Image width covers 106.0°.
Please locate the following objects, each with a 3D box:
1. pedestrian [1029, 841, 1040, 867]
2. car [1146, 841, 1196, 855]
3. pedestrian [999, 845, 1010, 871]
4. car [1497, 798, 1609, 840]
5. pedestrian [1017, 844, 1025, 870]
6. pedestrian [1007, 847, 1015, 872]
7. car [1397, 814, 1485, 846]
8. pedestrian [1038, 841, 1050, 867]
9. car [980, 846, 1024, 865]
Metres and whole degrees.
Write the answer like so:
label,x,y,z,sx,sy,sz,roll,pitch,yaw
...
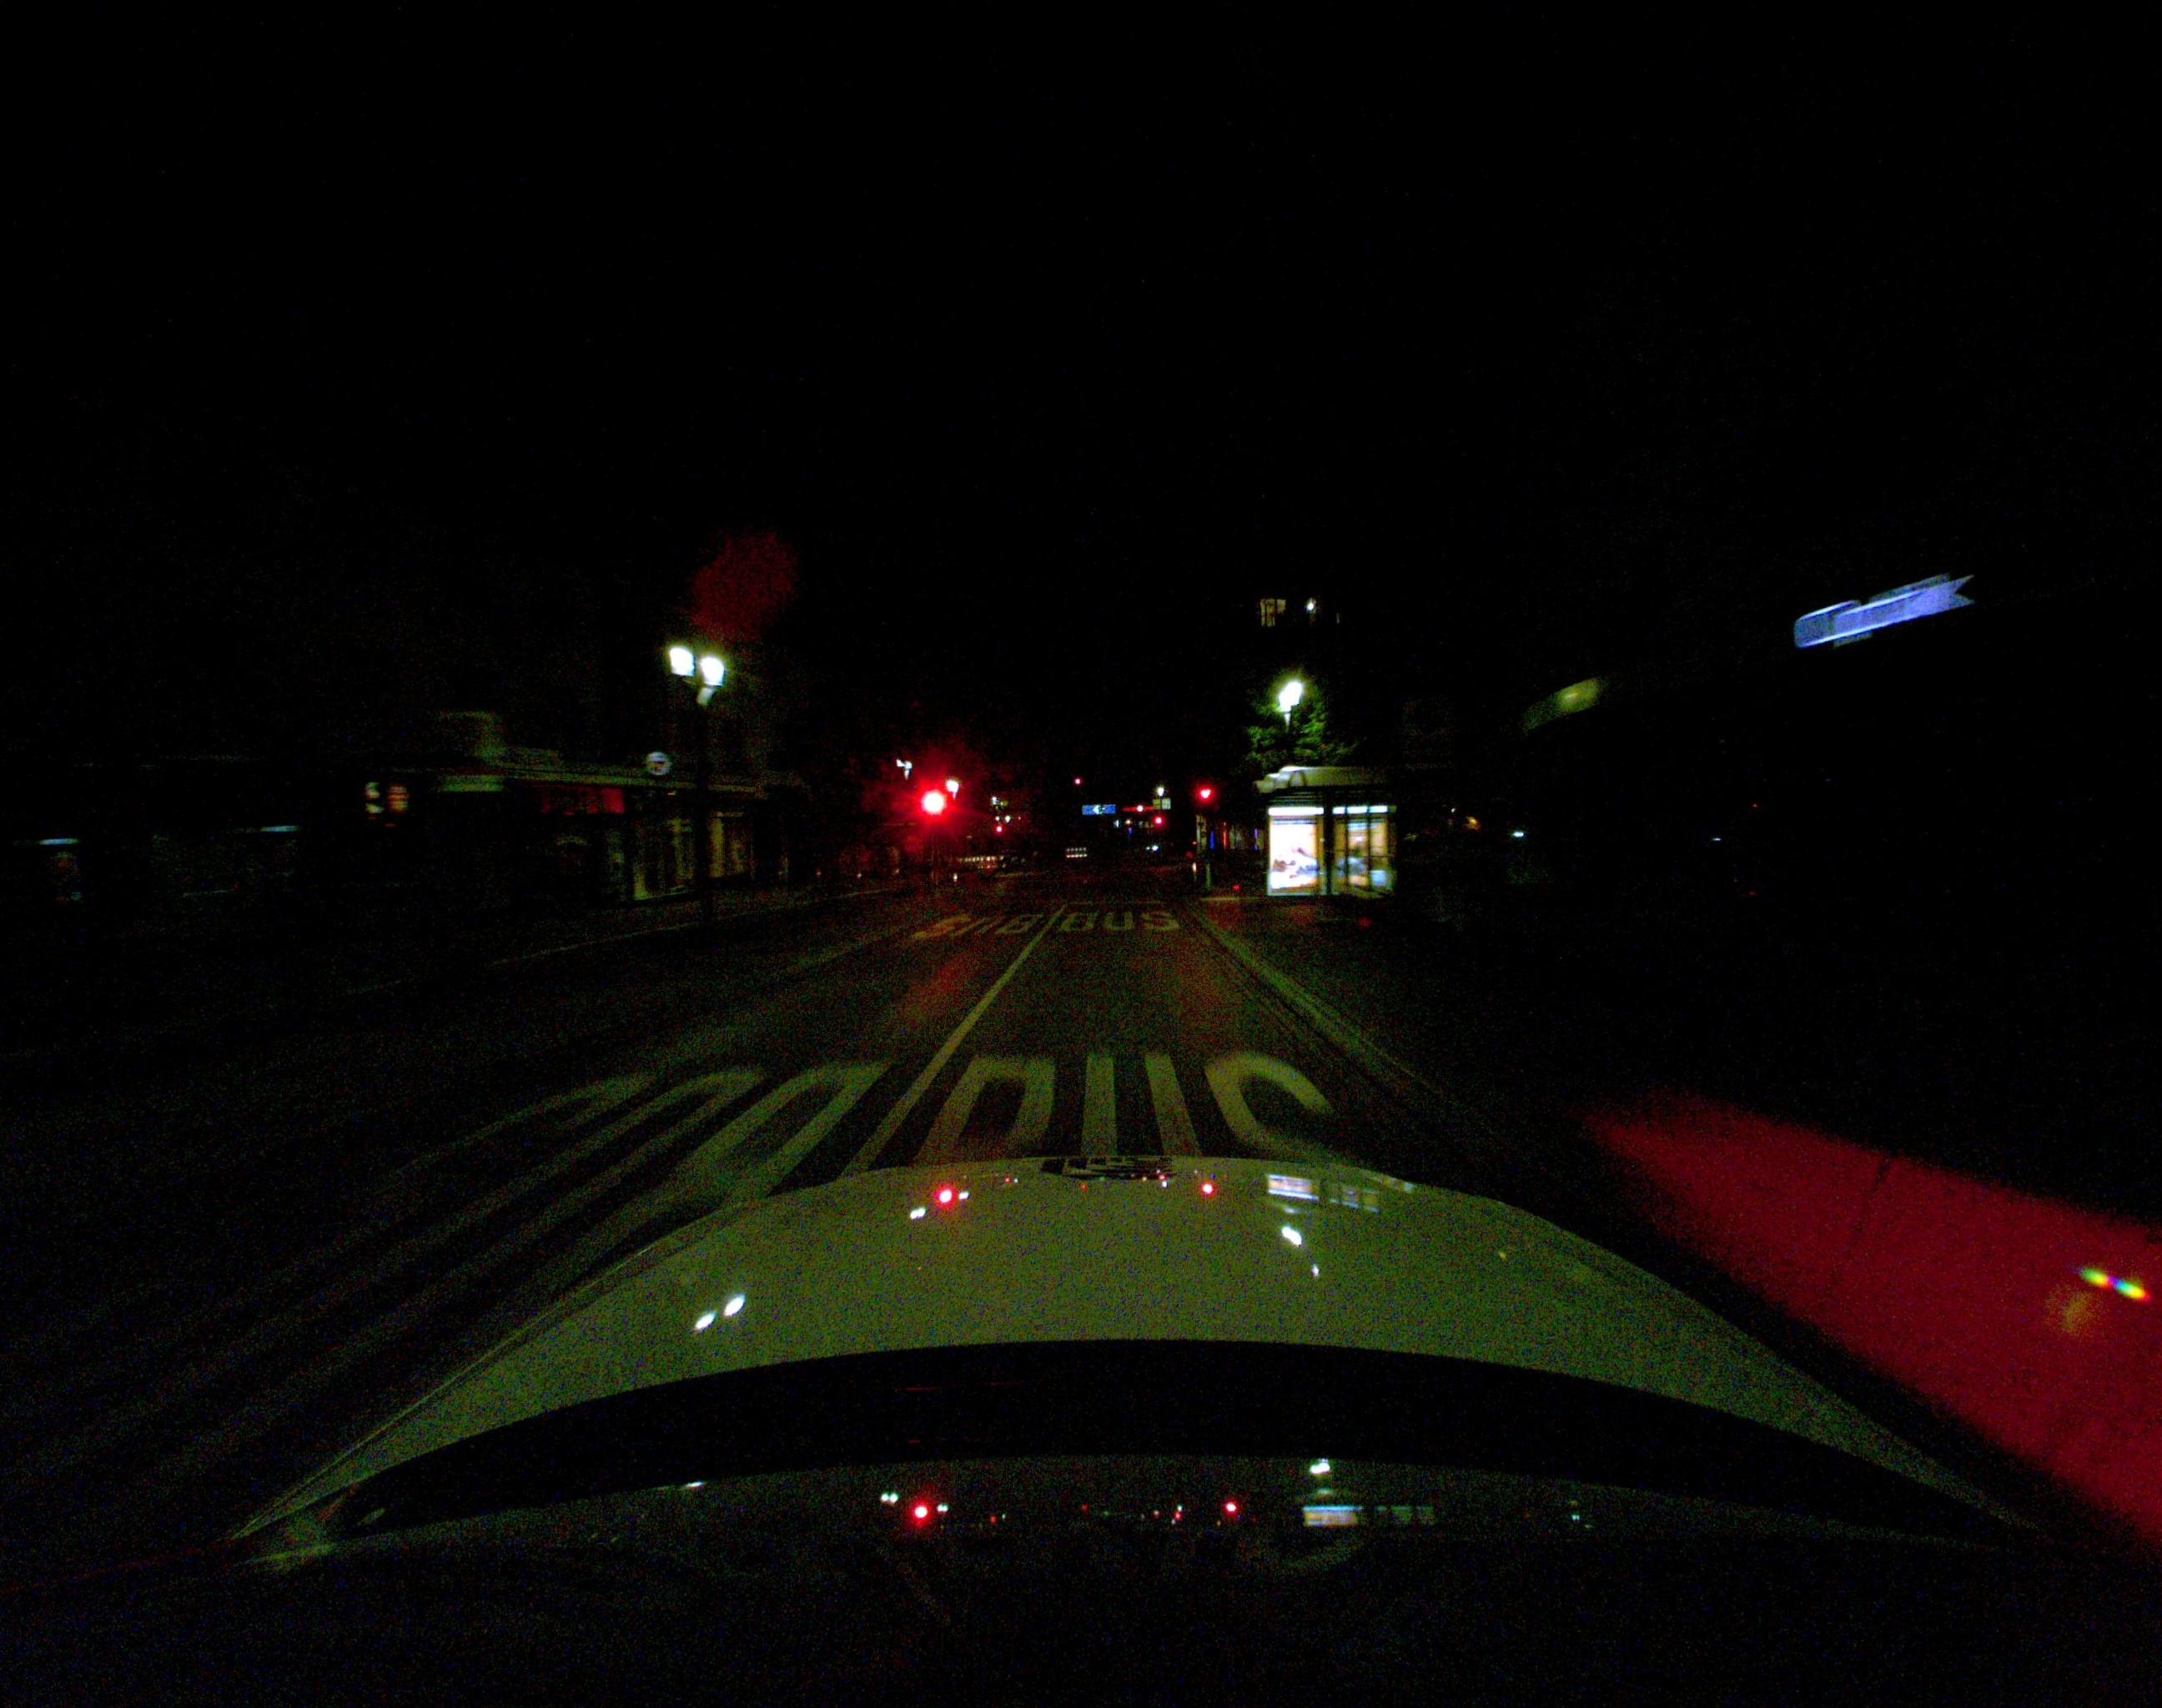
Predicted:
label,x,y,z,sx,sy,sz,roll,pitch,yaw
pedestrian,-3.255,0.027,57.034,0.570,1.795,0.713,0,-1,-23
car,8.548,-0.588,77.177,4.430,1.297,1.631,0,-1,-19
pedestrian,-5.238,0.272,55.575,0.716,1.795,0.567,0,-1,-13
car,24.548,-1.767,42.420,4.783,1.910,2.172,-1,-1,38
pedestrian,-4.185,0.223,56.964,0.566,1.795,0.717,0,-1,-3
pedestrian,-5.075,0.376,58.855,0.567,1.795,0.716,0,-1,-7
car,19.704,-1.304,44.691,4.018,1.452,1.830,-4,1,9
pedestrian,-2.559,0.032,56.454,0.734,1.795,0.716,0,-1,-9
car,-7.090,0.161,73.411,3.737,1.618,1.836,0,-1,2
